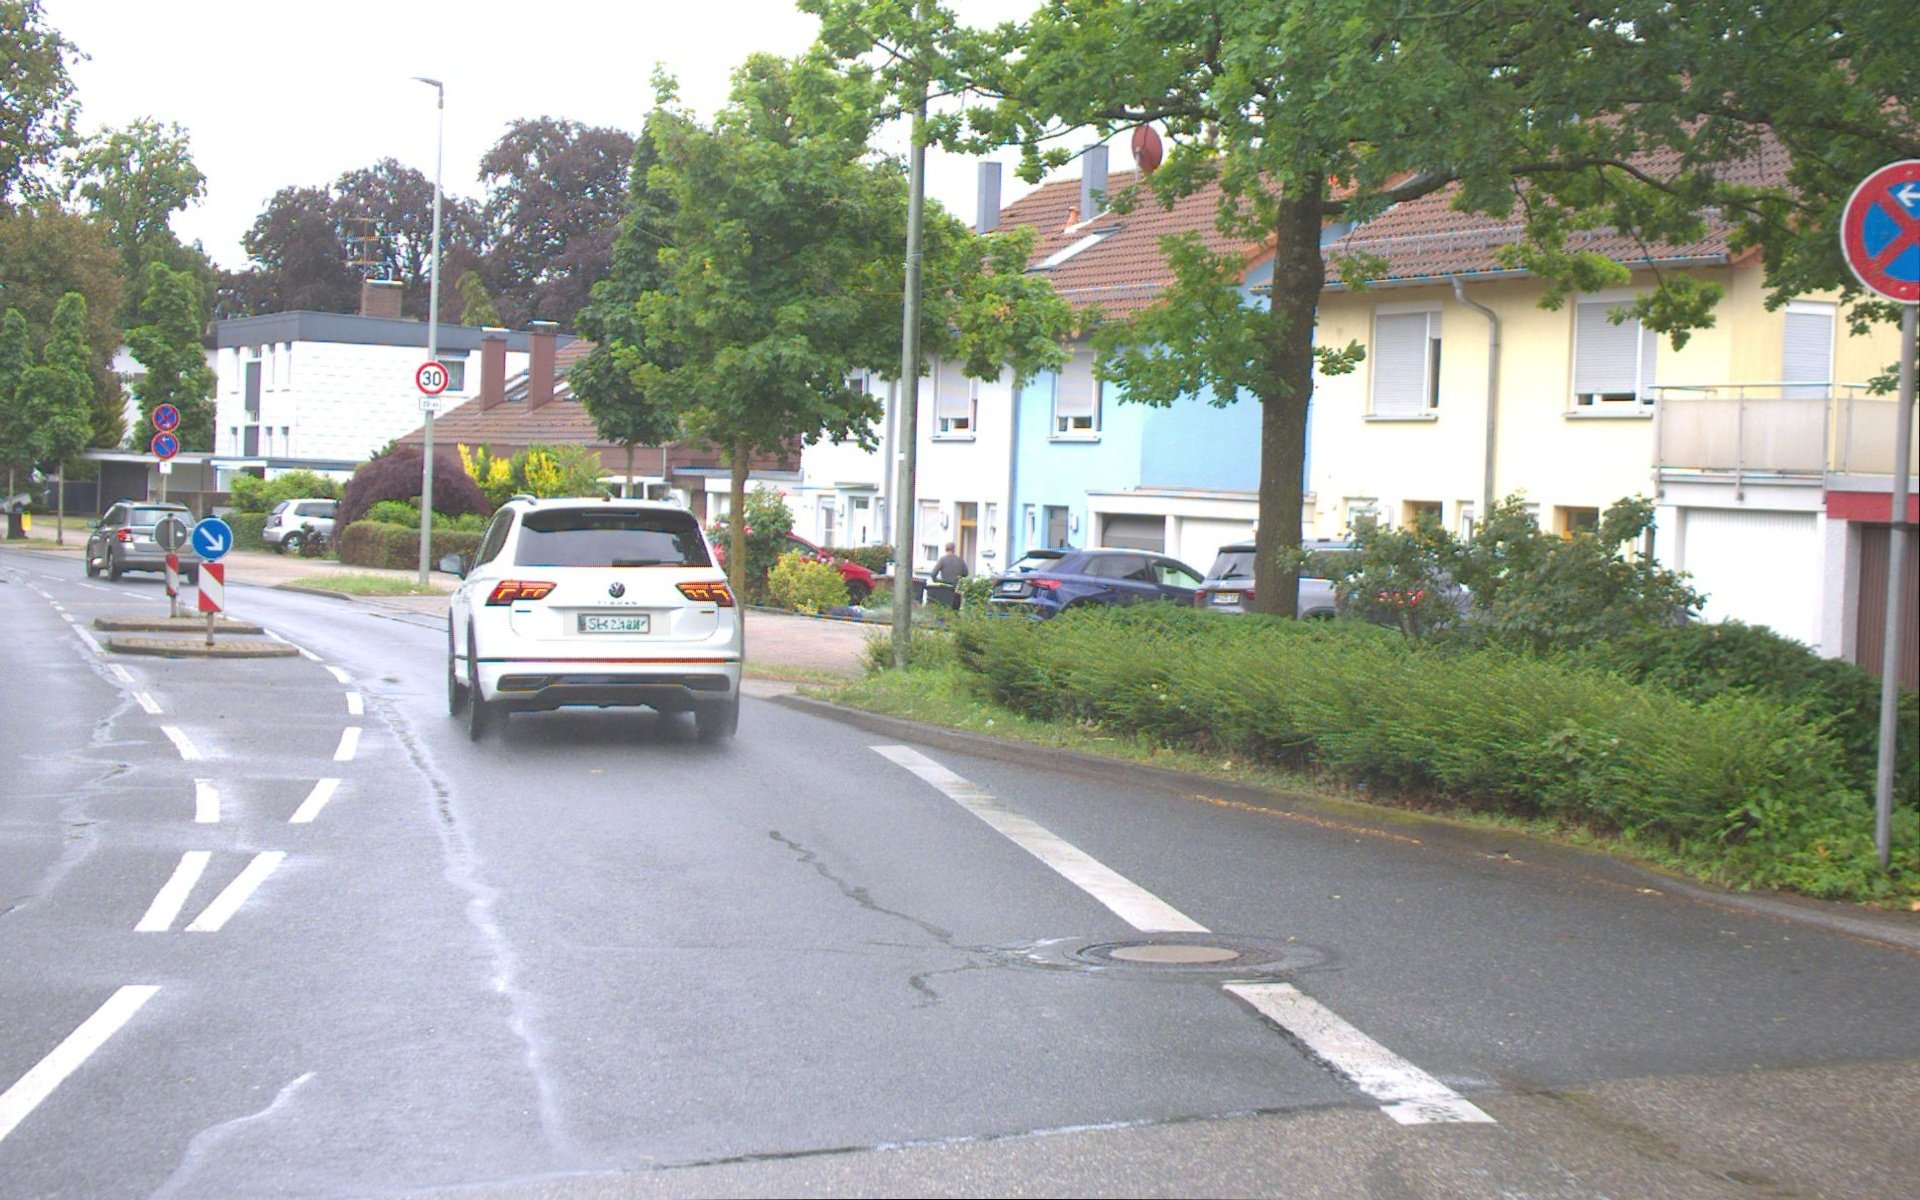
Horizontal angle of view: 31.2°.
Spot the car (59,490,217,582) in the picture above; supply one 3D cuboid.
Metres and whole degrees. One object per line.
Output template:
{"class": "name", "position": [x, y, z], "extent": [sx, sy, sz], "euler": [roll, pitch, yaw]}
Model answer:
{"class": "car", "position": [-15.183, -1.198, 63.364], "extent": [1.769, 1.546, 4.001], "euler": [1, 1, -29]}

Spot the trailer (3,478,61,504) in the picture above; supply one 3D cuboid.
{"class": "trailer", "position": [-36.531, -4.288, 135.291], "extent": [2.041, 0.880, 1.365], "euler": [3, 1, -21]}

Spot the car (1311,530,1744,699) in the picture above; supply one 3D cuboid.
{"class": "car", "position": [6.185, 0.156, 37.518], "extent": [4.178, 1.666, 1.992], "euler": [1, 1, -23]}

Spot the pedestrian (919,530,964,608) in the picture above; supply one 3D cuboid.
{"class": "pedestrian", "position": [-0.329, -0.544, 60.864], "extent": [0.535, 1.346, 0.529], "euler": [2, 1, -37]}

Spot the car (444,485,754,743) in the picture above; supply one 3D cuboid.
{"class": "car", "position": [-2.646, 0.042, 24.408], "extent": [1.864, 1.645, 4.001], "euler": [1, 1, -10]}

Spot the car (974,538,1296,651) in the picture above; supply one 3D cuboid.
{"class": "car", "position": [2.373, -0.074, 46.506], "extent": [3.986, 1.382, 1.675], "euler": [2, 1, -26]}

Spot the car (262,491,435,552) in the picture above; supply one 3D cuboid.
{"class": "car", "position": [-15.673, -2.017, 88.100], "extent": [3.986, 1.437, 1.848], "euler": [1, 1, -25]}

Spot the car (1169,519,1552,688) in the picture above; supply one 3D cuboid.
{"class": "car", "position": [4.722, 0.052, 40.391], "extent": [4.179, 1.666, 1.722], "euler": [4, 0, -31]}

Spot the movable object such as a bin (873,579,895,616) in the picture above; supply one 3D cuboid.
{"class": "movable object such as a bin", "position": [-1.331, -0.040, 60.003], "extent": [0.255, 0.624, 0.325], "euler": [1, 2, -23]}

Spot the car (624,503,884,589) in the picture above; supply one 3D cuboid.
{"class": "car", "position": [-3.664, -0.956, 61.475], "extent": [4.303, 1.256, 1.679], "euler": [3, 1, -34]}
